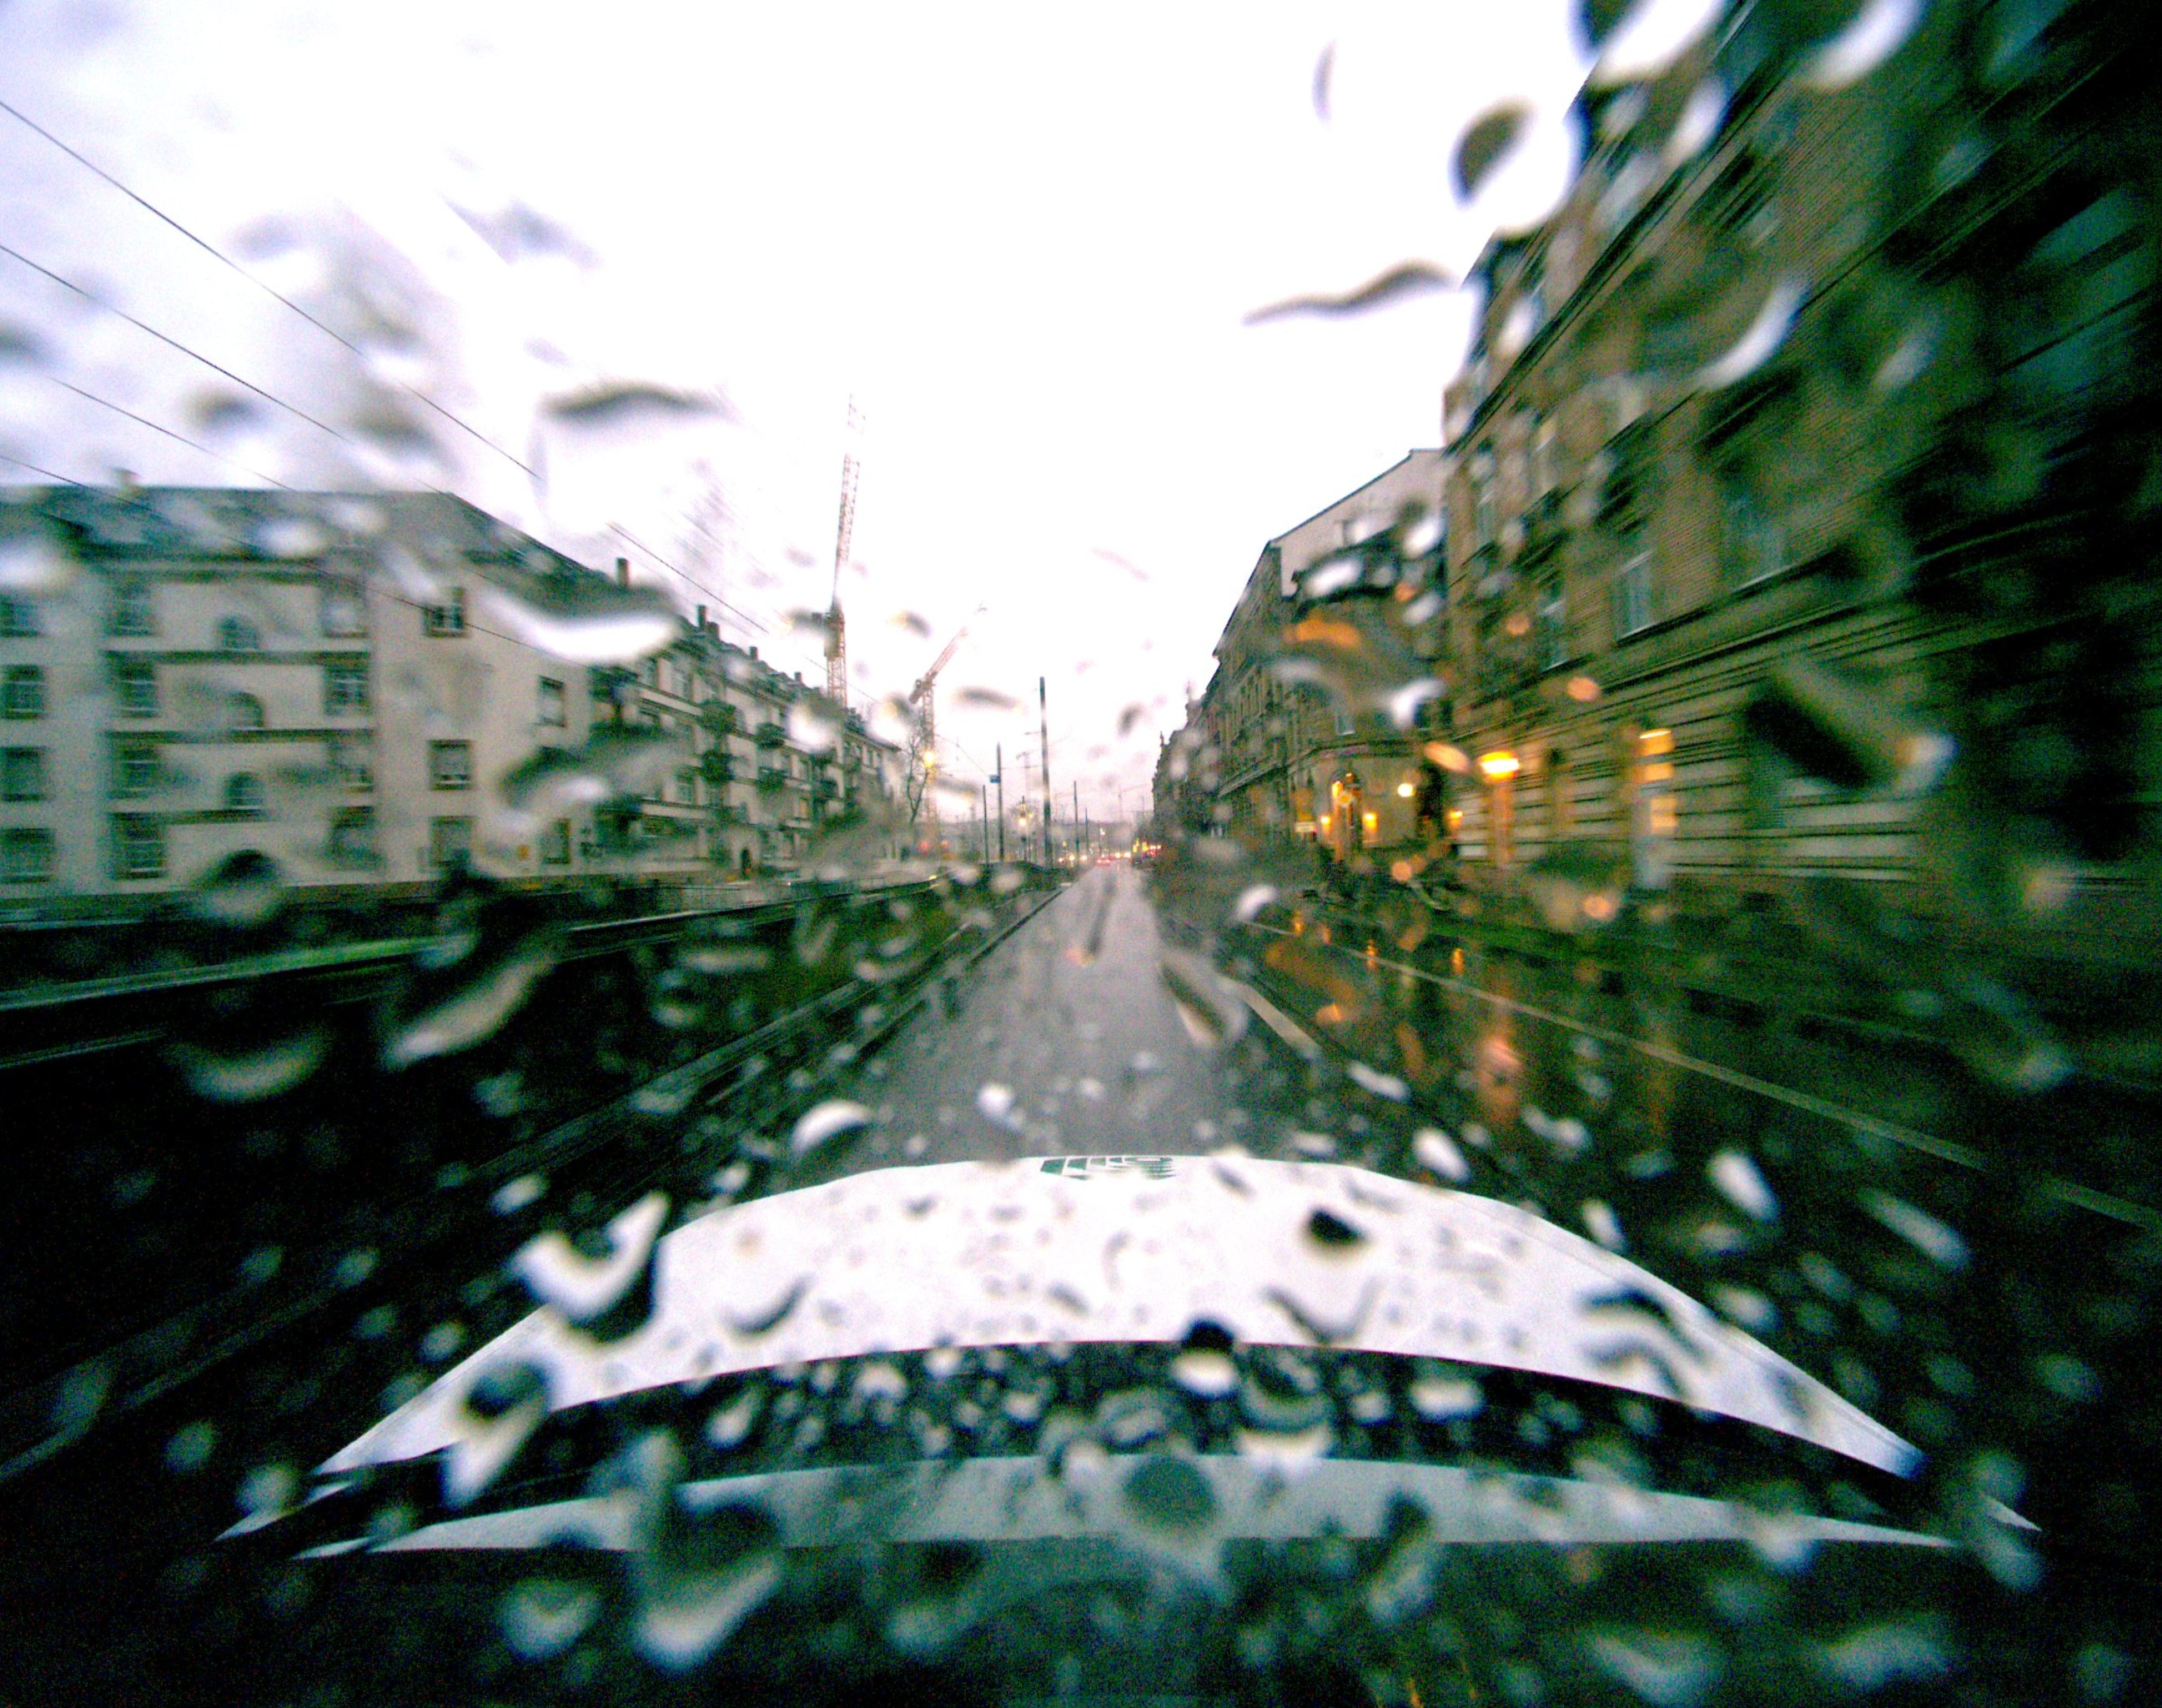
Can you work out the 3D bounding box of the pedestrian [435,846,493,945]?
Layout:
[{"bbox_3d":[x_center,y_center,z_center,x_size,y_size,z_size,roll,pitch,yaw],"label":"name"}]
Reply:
[{"bbox_3d":[-11.471,0.745,15.143,0.802,1.780,0.813,0,-1,-40],"label":"pedestrian"}]

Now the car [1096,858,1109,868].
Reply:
[{"bbox_3d":[3.182,1.332,120.796,1.776,1.467,3.151,-2,0,3],"label":"car"}]

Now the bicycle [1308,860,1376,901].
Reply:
[{"bbox_3d":[7.667,0.765,23.895,2.098,1.052,0.474,-4,0,-25],"label":"bicycle"}]

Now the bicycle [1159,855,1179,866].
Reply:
[{"bbox_3d":[8.845,0.649,81.943,1.846,1.058,0.471,-3,0,-1],"label":"bicycle"}]

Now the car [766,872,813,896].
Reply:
[{"bbox_3d":[-16.463,1.666,46.146,1.450,1.123,3.425,-3,0,-1],"label":"car"}]

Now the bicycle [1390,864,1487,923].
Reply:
[{"bbox_3d":[7.173,0.786,16.349,1.724,1.055,0.371,-4,0,0],"label":"bicycle"}]

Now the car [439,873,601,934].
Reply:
[{"bbox_3d":[-14.384,1.224,21.131,1.676,1.354,3.546,-1,0,1],"label":"car"}]

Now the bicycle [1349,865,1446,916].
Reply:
[{"bbox_3d":[7.257,0.837,18.718,2.001,0.971,0.425,-5,0,0],"label":"bicycle"}]

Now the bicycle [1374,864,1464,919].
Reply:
[{"bbox_3d":[7.269,0.795,17.533,1.724,1.055,0.371,-4,0,0],"label":"bicycle"}]

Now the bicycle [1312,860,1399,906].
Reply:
[{"bbox_3d":[7.328,0.779,21.778,2.081,1.052,0.478,-5,0,0],"label":"bicycle"}]

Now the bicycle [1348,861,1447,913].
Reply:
[{"bbox_3d":[7.591,0.791,19.565,2.137,1.055,0.425,-5,1,0],"label":"bicycle"}]

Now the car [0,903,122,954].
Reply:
[{"bbox_3d":[-34.858,2.476,27.336,1.451,1.425,3.313,-3,0,-3],"label":"car"}]

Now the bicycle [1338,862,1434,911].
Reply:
[{"bbox_3d":[7.545,0.804,20.199,2.137,1.055,0.484,-4,0,0],"label":"bicycle"}]

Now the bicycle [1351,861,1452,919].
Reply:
[{"bbox_3d":[7.153,0.802,18.202,2.001,1.095,0.425,-5,0,0],"label":"bicycle"}]

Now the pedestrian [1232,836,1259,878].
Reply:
[{"bbox_3d":[8.108,0.162,40.255,0.858,2.013,0.910,-2,0,-28],"label":"pedestrian"}]

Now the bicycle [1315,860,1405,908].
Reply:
[{"bbox_3d":[7.284,0.778,21.269,2.137,1.055,0.425,-5,1,0],"label":"bicycle"}]

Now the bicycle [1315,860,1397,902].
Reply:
[{"bbox_3d":[7.691,0.753,22.839,2.081,1.052,0.478,-4,0,0],"label":"bicycle"}]

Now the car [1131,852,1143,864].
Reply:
[{"bbox_3d":[8.597,0.605,124.379,1.791,1.604,3.774,-3,0,4],"label":"car"}]

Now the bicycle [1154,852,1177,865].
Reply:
[{"bbox_3d":[8.086,0.431,77.828,2.143,1.057,0.525,-3,0,-5],"label":"bicycle"}]

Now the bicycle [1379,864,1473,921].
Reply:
[{"bbox_3d":[7.128,0.791,16.851,1.724,1.055,0.371,-4,0,0],"label":"bicycle"}]
